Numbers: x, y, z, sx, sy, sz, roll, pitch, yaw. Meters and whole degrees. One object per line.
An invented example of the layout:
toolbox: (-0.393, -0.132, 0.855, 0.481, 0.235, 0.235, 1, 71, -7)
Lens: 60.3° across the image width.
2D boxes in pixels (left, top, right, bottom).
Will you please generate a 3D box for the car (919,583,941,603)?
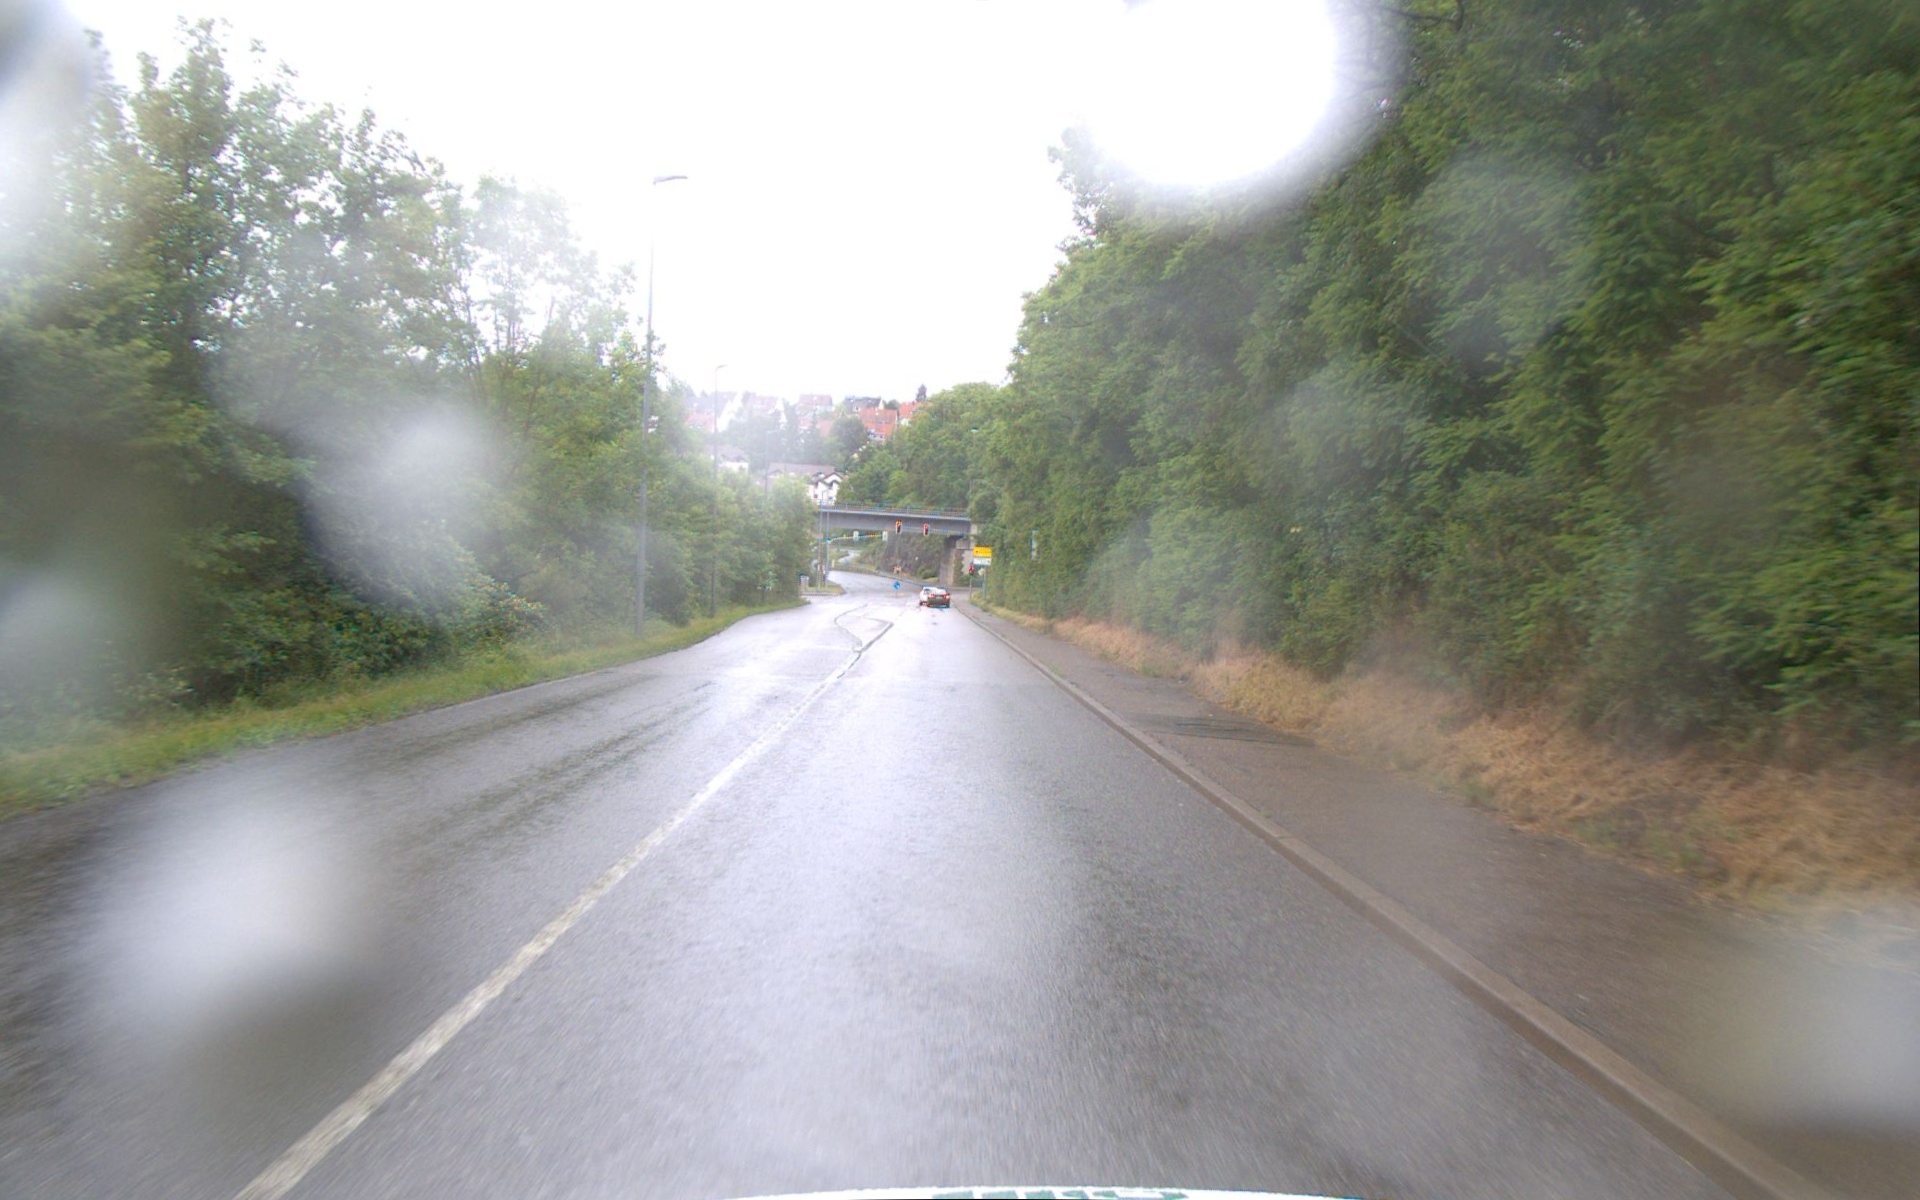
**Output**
car: (-2.423, -0.601, 135.529, 1.732, 1.590, 4.000, 1, 0, -1)

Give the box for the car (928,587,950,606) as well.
car: (-1.623, -0.297, 128.857, 1.732, 1.404, 4.000, 1, 0, -1)
